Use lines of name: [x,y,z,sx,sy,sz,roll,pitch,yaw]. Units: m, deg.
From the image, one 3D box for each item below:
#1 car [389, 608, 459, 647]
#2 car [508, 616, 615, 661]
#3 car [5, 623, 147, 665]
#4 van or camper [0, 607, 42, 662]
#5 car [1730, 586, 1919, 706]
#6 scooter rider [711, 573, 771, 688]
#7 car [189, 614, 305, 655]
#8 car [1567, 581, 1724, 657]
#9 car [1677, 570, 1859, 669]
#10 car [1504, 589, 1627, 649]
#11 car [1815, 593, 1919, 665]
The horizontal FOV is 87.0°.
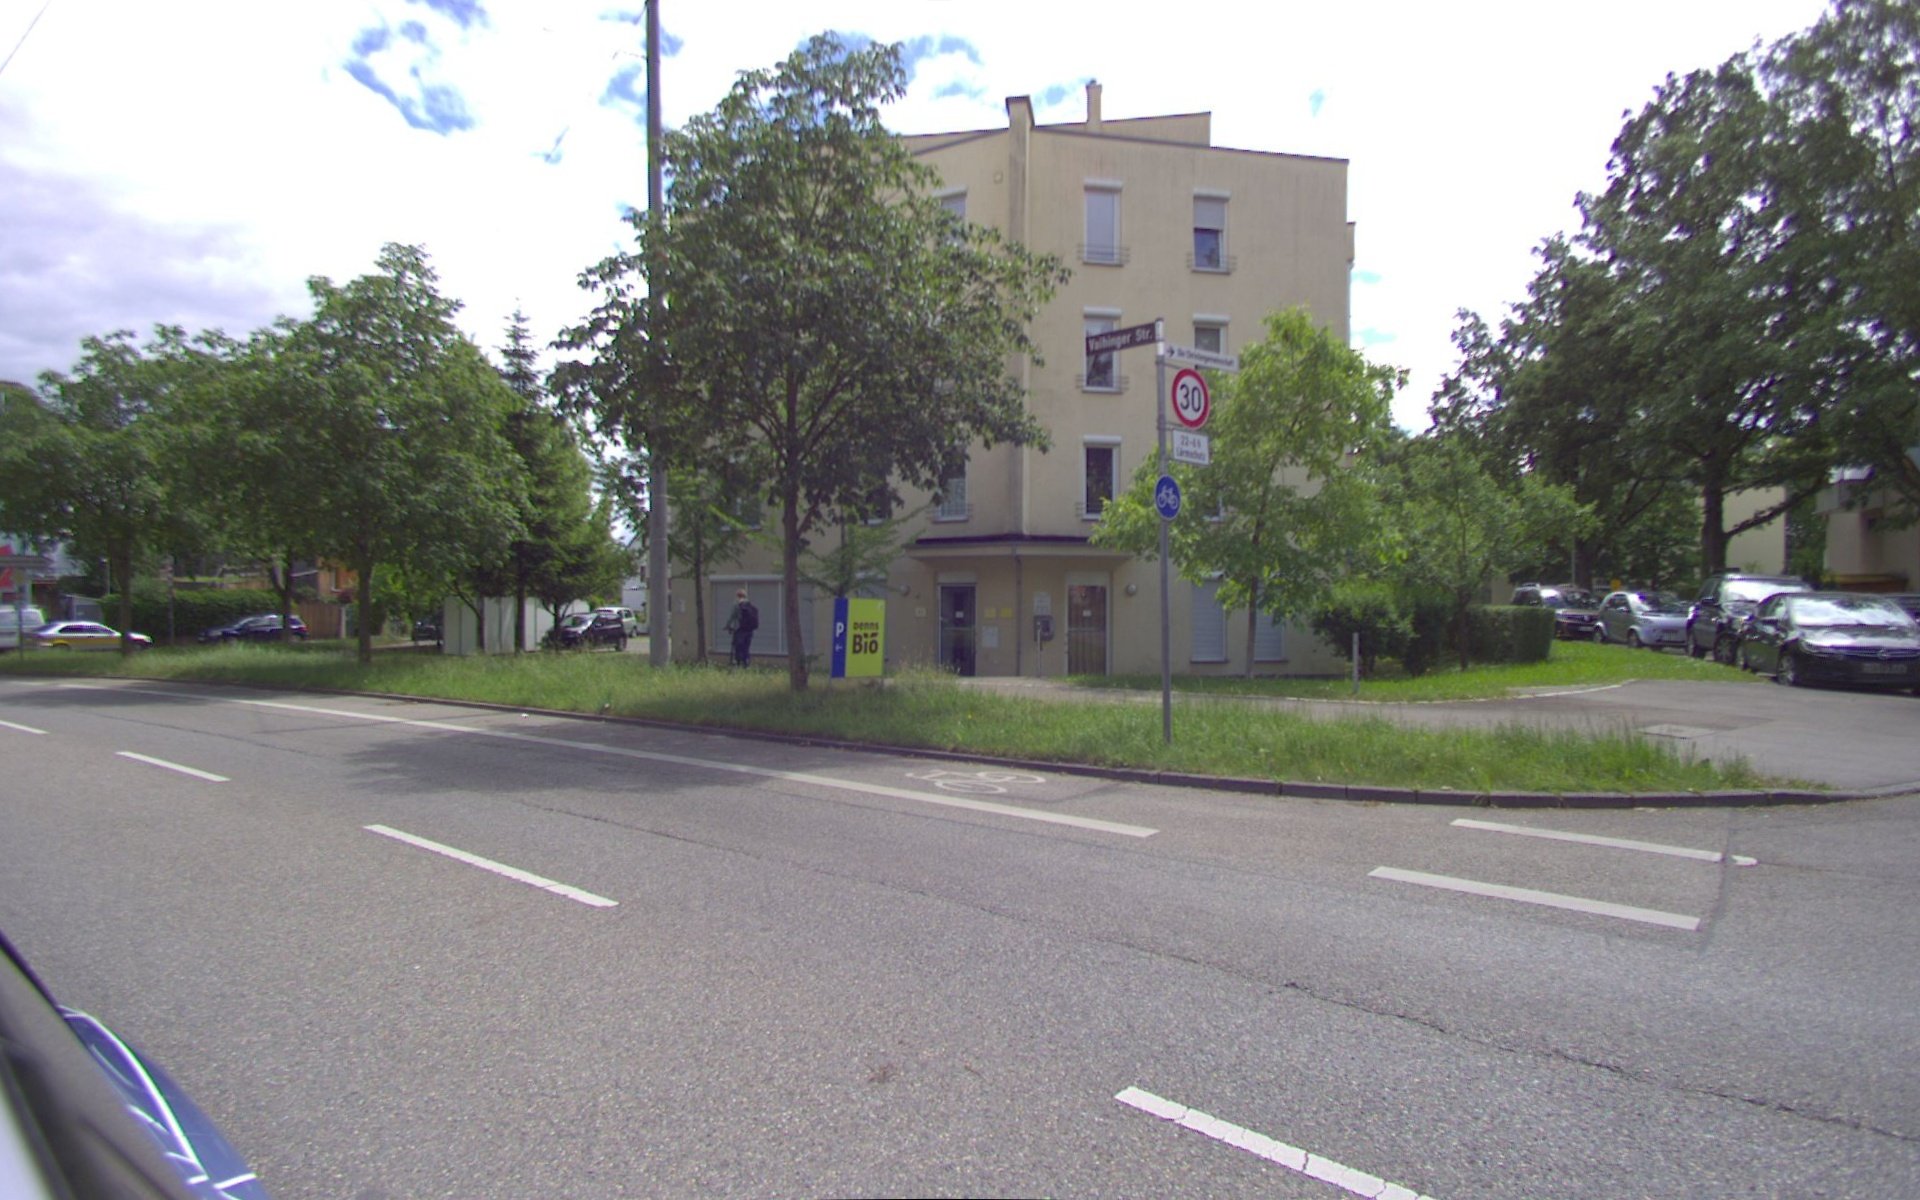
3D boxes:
car: [-29.926,1.499,56.643,1.952,2.029,4.003,-1,0,-3]
car: [-13.851,1.352,35.412,1.773,1.431,3.989,-1,-2,8]
car: [-35.270,1.706,40.500,1.527,1.331,4.013,-1,2,24]
van or camper: [-39.538,1.411,41.835,3.808,2.104,1.772,0,2,40]
car: [13.116,0.582,15.087,1.728,1.408,4.118,-1,2,25]
scooter rider: [-4.003,0.535,18.491,0.793,2.028,0.670,0,2,38]
car: [-31.848,1.503,45.312,1.713,1.694,3.932,0,0,34]
car: [17.580,0.476,26.190,1.745,1.807,3.990,-1,-1,8]
car: [15.799,0.290,20.052,1.861,1.666,4.394,-1,2,26]
car: [18.194,0.570,30.633,1.696,1.676,3.991,-1,-1,7]
car: [24.984,0.715,26.226,2.100,1.807,4.411,-1,-1,5]
